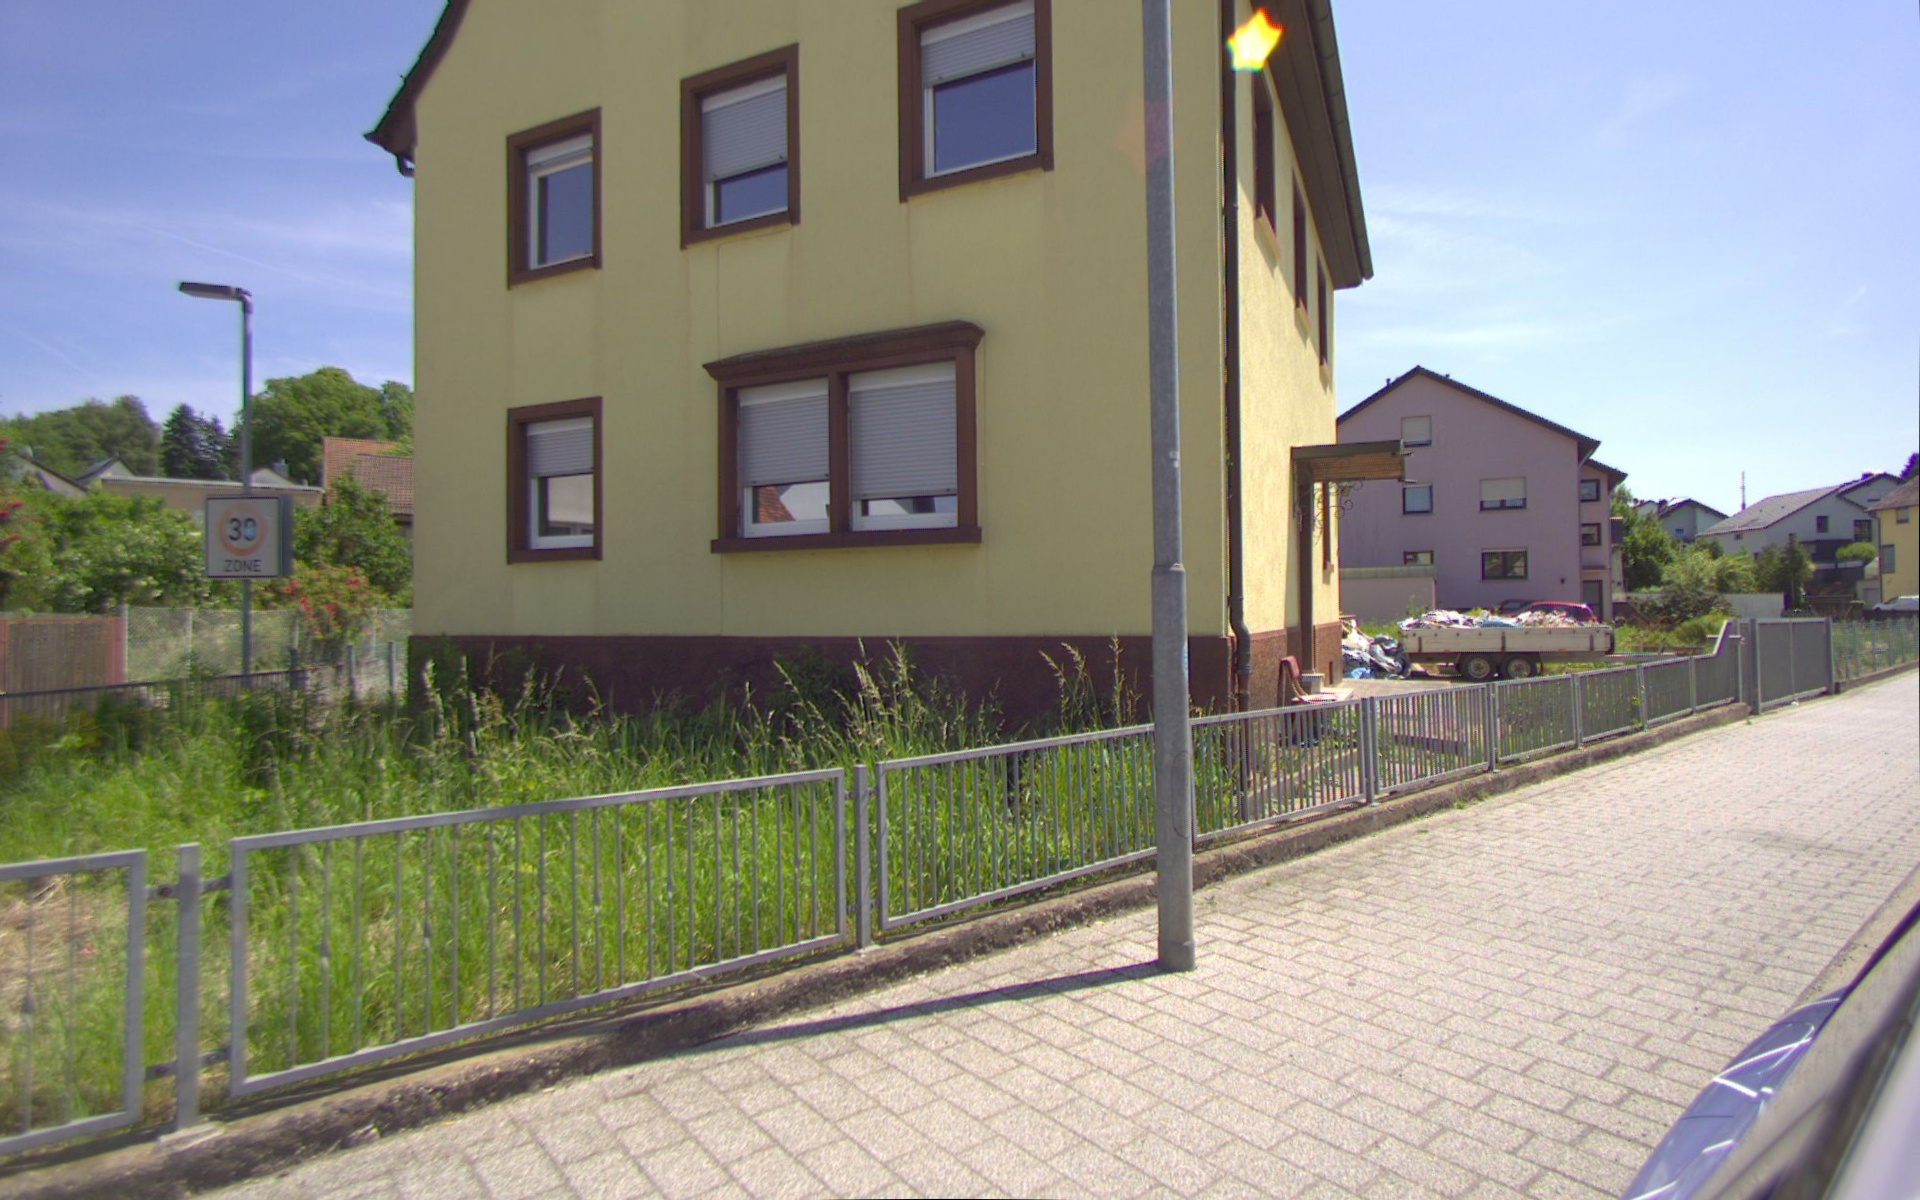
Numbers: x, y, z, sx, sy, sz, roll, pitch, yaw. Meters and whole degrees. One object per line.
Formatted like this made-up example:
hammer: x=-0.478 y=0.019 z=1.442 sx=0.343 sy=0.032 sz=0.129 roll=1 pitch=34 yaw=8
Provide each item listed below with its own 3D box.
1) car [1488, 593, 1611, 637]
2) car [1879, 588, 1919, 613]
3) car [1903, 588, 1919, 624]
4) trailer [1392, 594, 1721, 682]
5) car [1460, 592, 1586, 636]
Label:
car: x=21.428 y=0.513 z=36.971 sx=3.802 sy=1.505 sz=1.744 roll=0 pitch=0 yaw=28
car: x=63.977 y=0.022 z=67.567 sx=1.706 sy=1.572 sz=4.180 roll=-2 pitch=0 yaw=7
car: x=51.867 y=0.259 z=52.895 sx=1.845 sy=1.933 sz=5.002 roll=-2 pitch=-2 yaw=20
trailer: x=11.554 y=0.768 z=20.154 sx=5.301 sy=1.566 sz=2.122 roll=-2 pitch=-1 yaw=23
car: x=21.881 y=0.549 z=39.541 sx=4.080 sy=1.567 sz=1.836 roll=-2 pitch=-1 yaw=24
